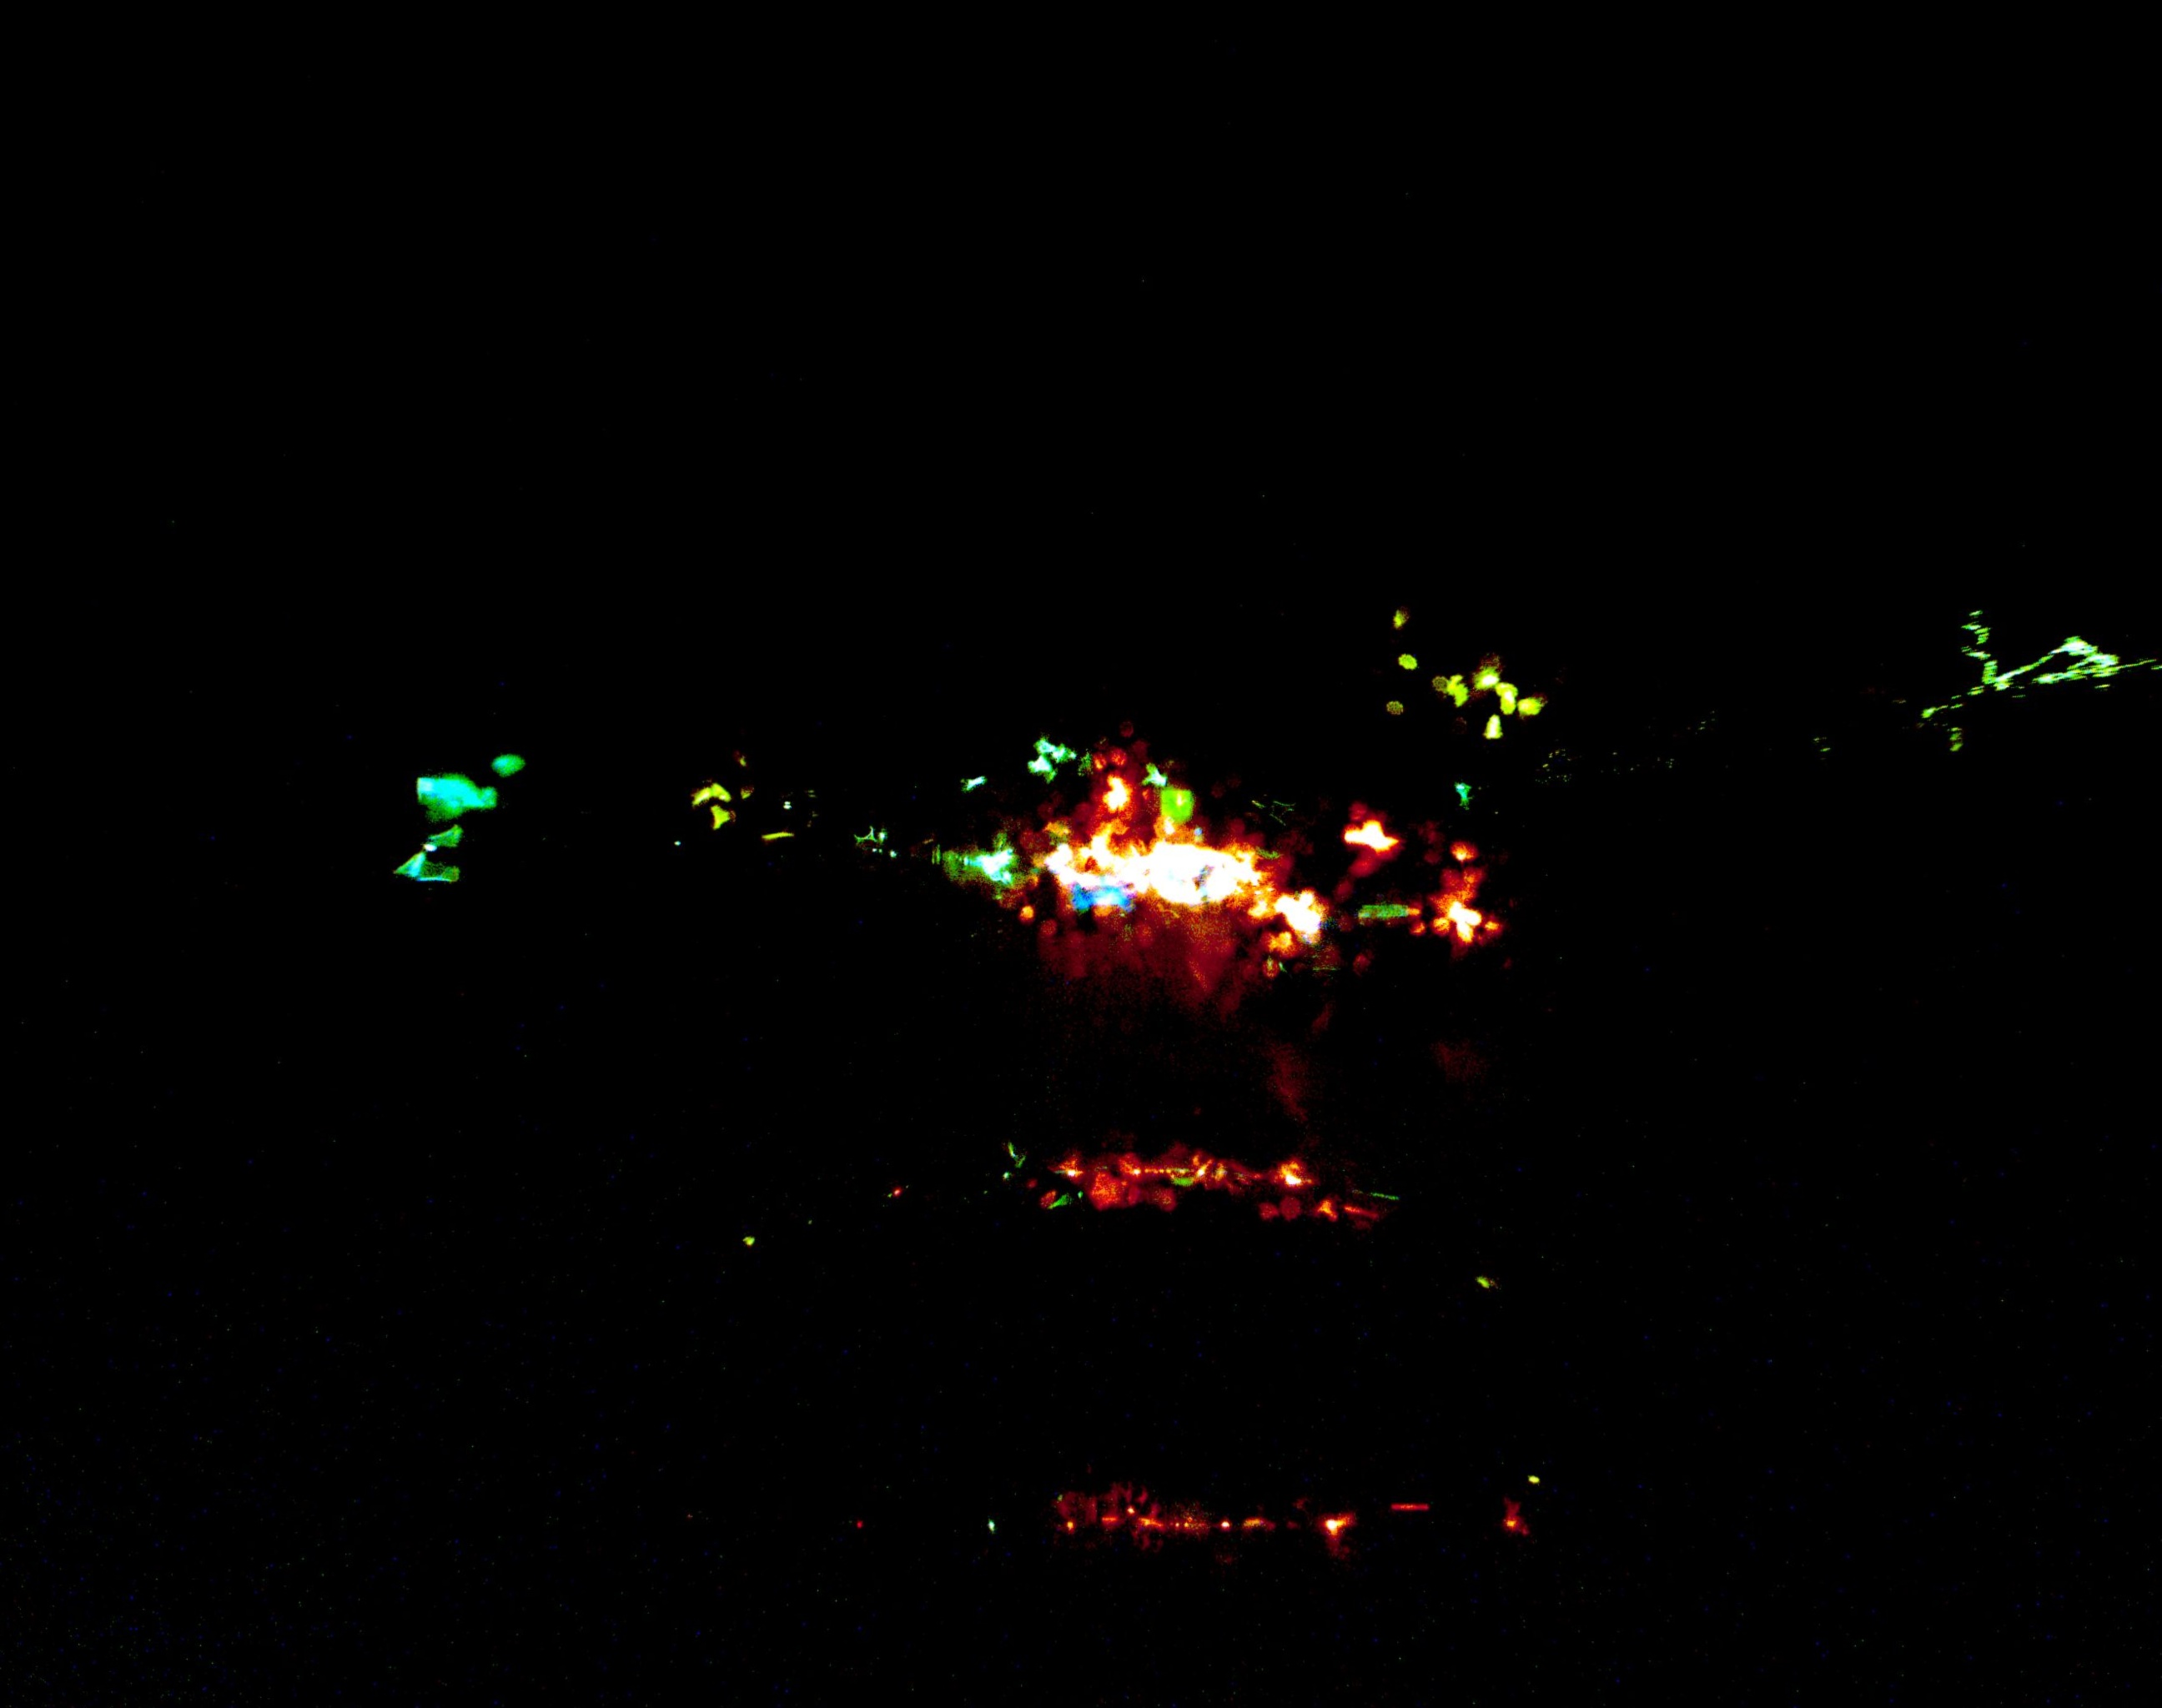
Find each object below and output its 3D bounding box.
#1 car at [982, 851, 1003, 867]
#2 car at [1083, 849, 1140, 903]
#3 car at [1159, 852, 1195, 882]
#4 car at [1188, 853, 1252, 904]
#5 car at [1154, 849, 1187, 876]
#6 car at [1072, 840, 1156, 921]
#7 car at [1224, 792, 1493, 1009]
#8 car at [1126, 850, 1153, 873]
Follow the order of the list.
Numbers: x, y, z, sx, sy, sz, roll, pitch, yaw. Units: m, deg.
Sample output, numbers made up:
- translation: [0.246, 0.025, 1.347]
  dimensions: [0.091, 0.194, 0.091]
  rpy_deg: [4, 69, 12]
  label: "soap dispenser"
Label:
- translation: [-10.893, 0.553, 99.501]
  dimensions: [1.996, 1.912, 4.721]
  rpy_deg: [-1, 0, -13]
  label: "car"
- translation: [1.062, 0.673, 27.238]
  dimensions: [1.701, 1.638, 3.734]
  rpy_deg: [-2, 0, 3]
  label: "car"
- translation: [4.833, 0.648, 41.351]
  dimensions: [1.655, 1.450, 4.055]
  rpy_deg: [-1, 0, 5]
  label: "car"
- translation: [4.268, 0.702, 25.524]
  dimensions: [1.759, 1.450, 4.226]
  rpy_deg: [0, 0, 6]
  label: "car"
- translation: [5.229, 0.469, 47.938]
  dimensions: [1.657, 1.450, 4.052]
  rpy_deg: [0, 0, 2]
  label: "car"
- translation: [0.764, 0.542, 18.374]
  dimensions: [1.687, 1.630, 3.855]
  rpy_deg: [0, 0, 3]
  label: "car"
- translation: [2.901, 0.410, 9.548]
  dimensions: [1.934, 1.972, 4.222]
  rpy_deg: [0, 0, 3]
  label: "car"
- translation: [3.899, 0.517, 54.811]
  dimensions: [1.656, 1.450, 4.052]
  rpy_deg: [0, -1, 3]
  label: "car"
